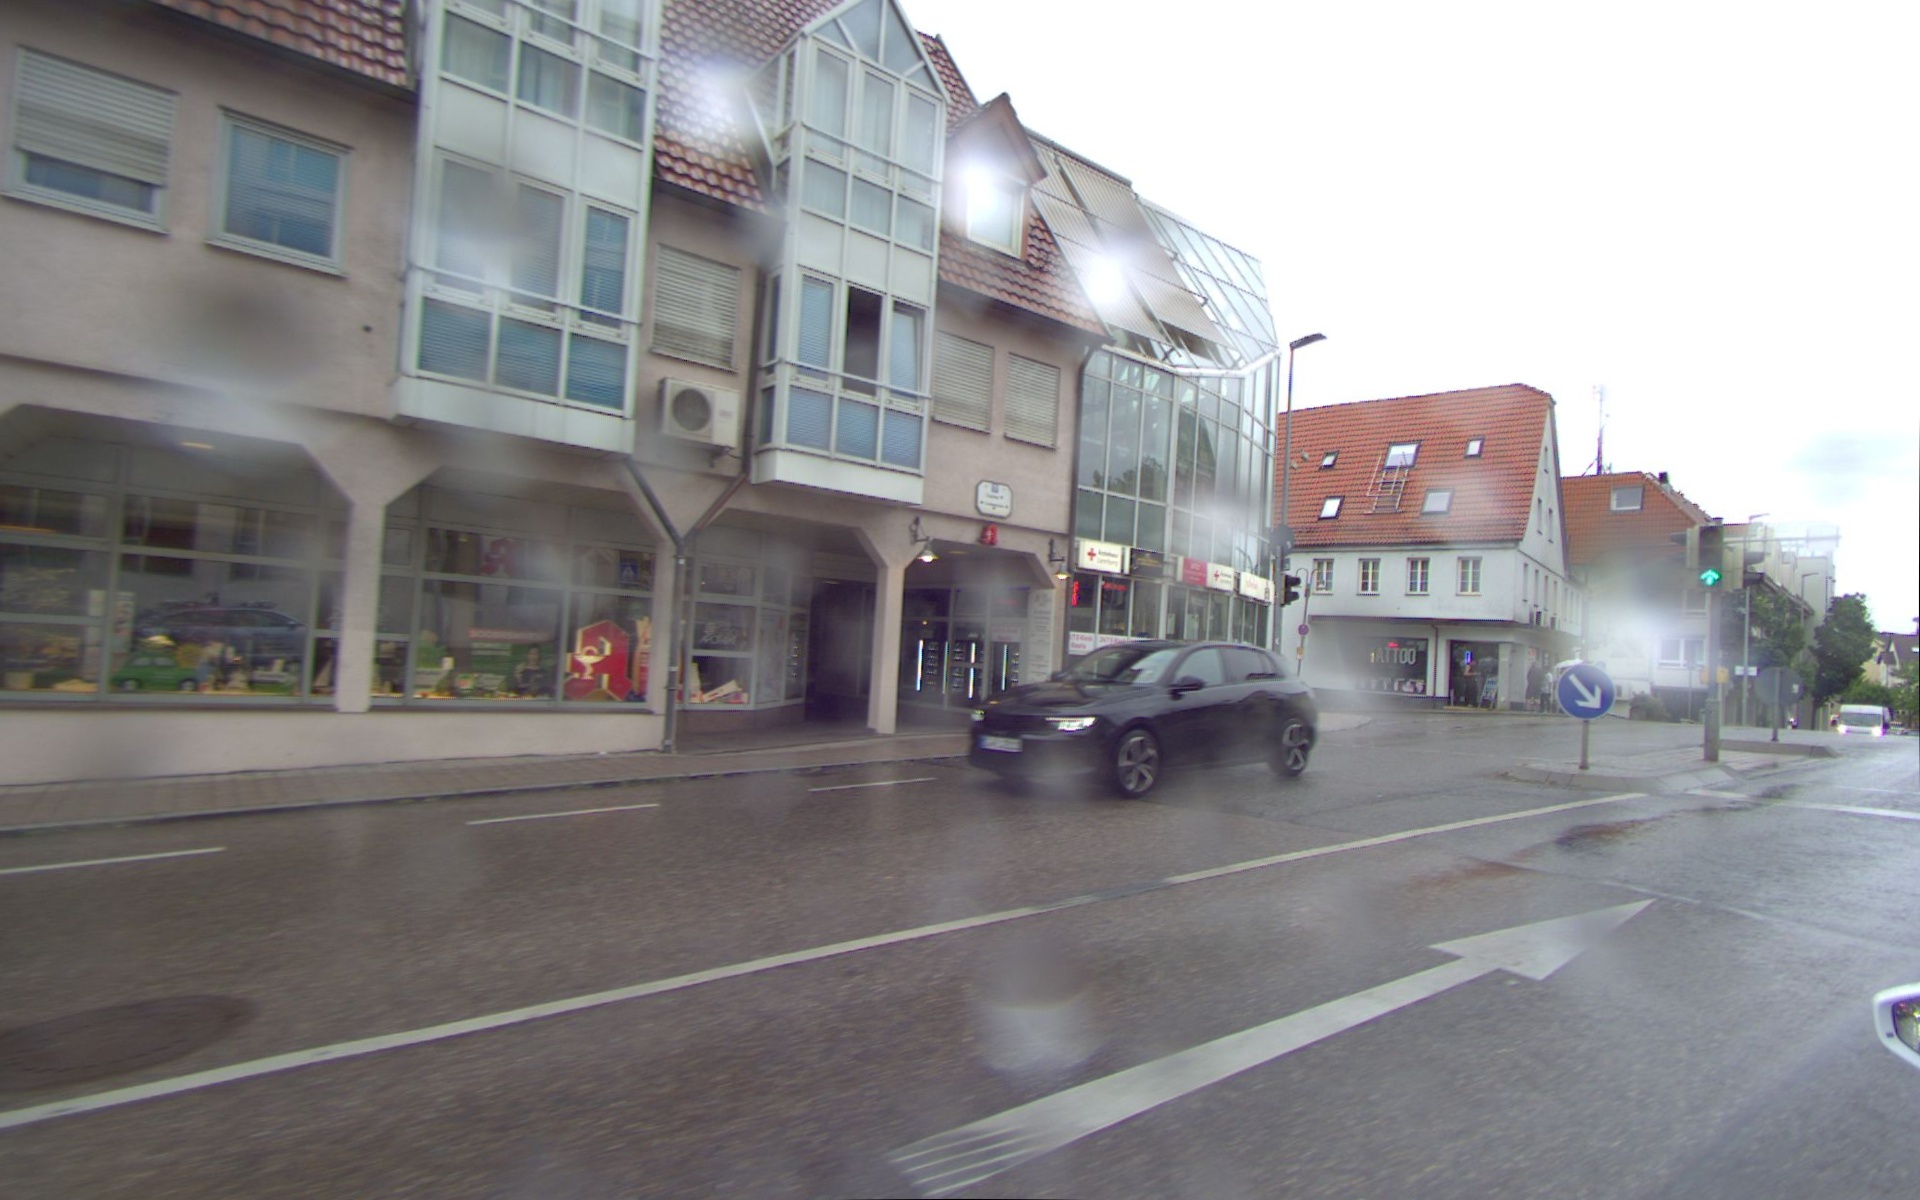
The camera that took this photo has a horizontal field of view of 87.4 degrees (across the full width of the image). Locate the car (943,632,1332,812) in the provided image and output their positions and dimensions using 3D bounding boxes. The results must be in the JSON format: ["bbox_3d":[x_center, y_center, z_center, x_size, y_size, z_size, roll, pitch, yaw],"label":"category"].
[{"bbox_3d":[1.940,1.101,10.420,3.967,1.486,1.871,1,-3,-40],"label":"car"}]

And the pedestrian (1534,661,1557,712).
[{"bbox_3d":[20.883,3.076,35.821,0.585,1.797,0.631,-2,-4,41],"label":"pedestrian"}]

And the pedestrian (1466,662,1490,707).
[{"bbox_3d":[18.576,3.012,36.023,0.585,1.579,0.631,-2,-4,41],"label":"pedestrian"}]

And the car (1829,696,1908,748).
[{"bbox_3d":[51.506,6.850,56.901,6.509,2.660,2.565,4,-6,-42],"label":"car"}]

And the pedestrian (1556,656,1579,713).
[{"bbox_3d":[20.298,2.816,33.563,0.528,1.895,0.631,-2,-4,41],"label":"pedestrian"}]

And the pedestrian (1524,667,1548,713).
[{"bbox_3d":[20.076,3.112,34.999,0.585,1.579,0.631,-2,-4,41],"label":"pedestrian"}]

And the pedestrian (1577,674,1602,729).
[{"bbox_3d":[22.078,3.537,35.247,0.596,1.891,0.745,-2,-4,41],"label":"pedestrian"}]
